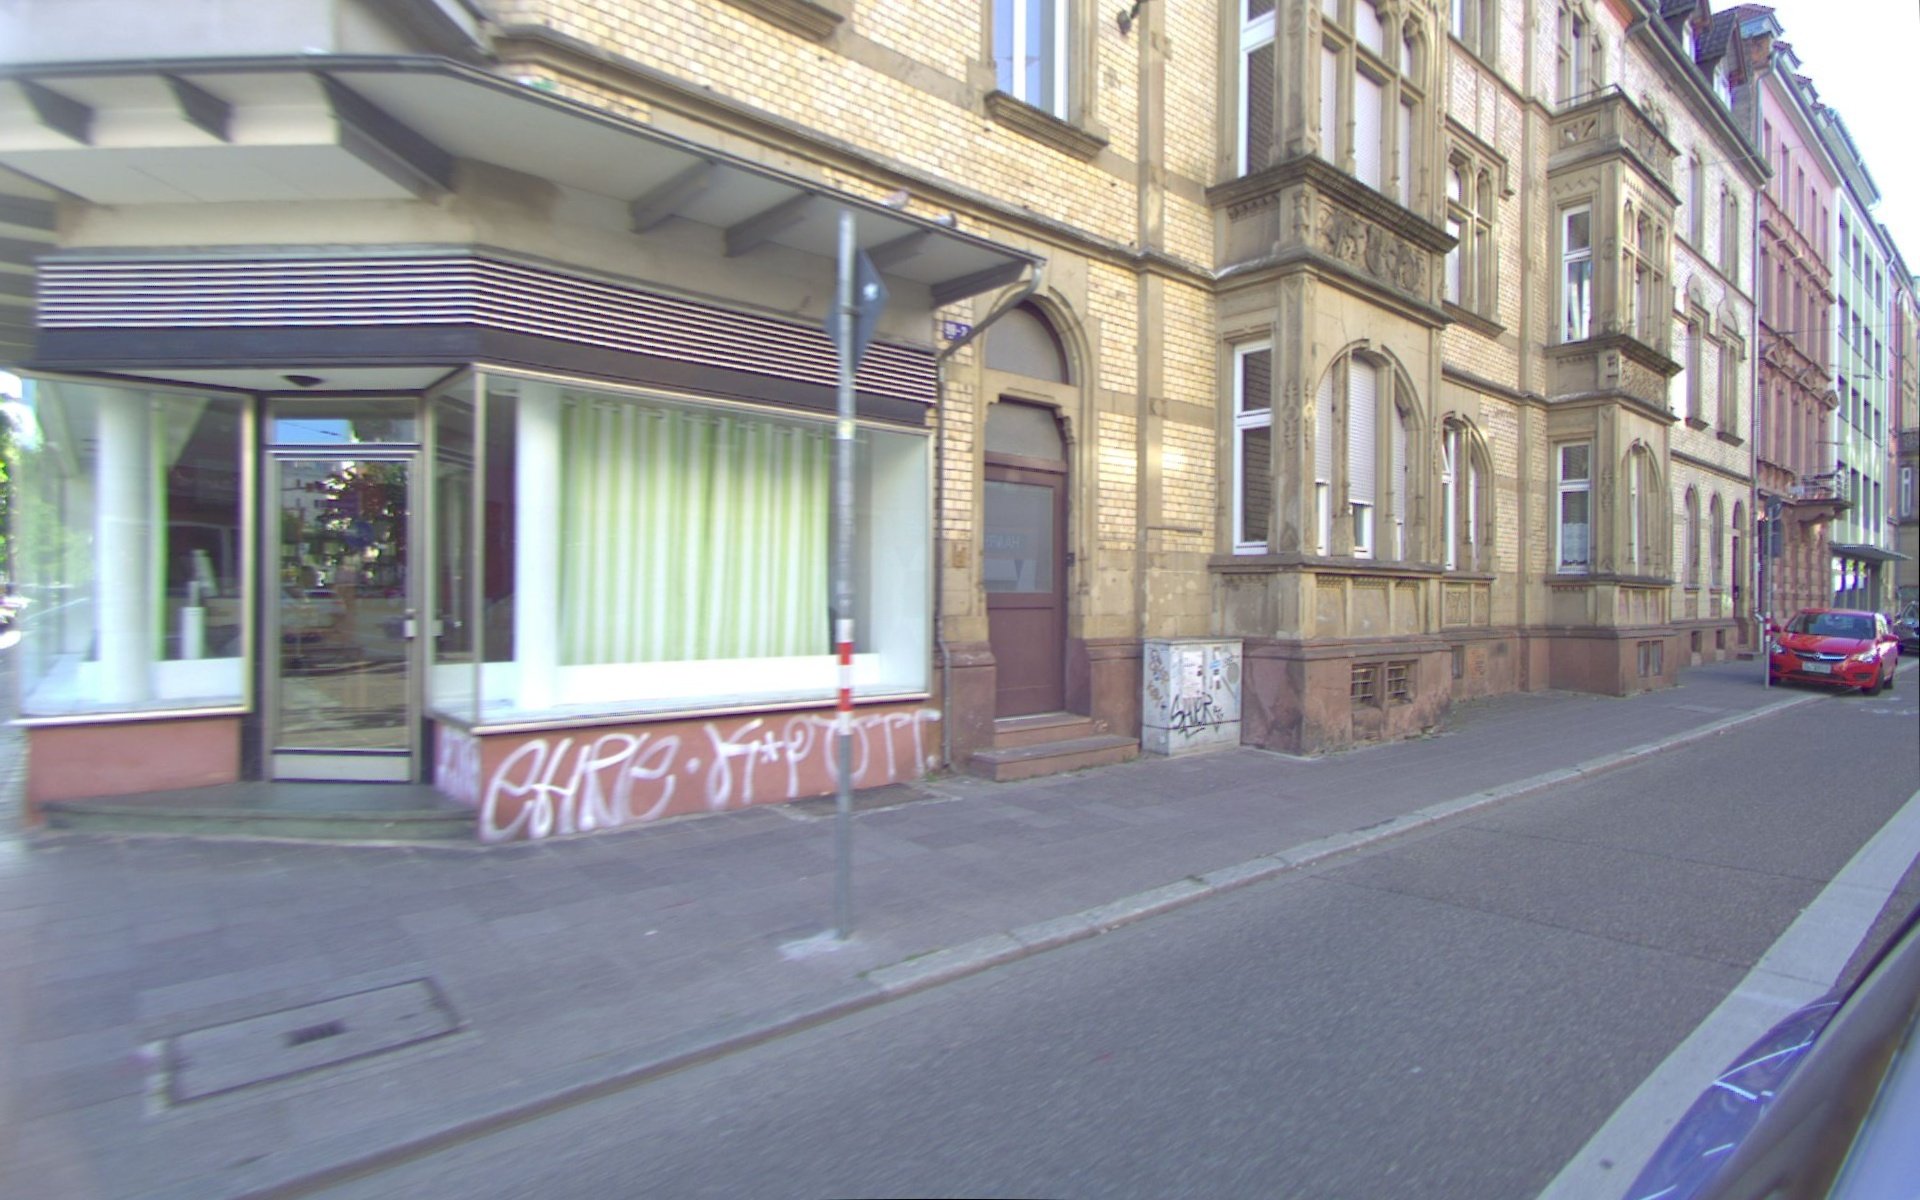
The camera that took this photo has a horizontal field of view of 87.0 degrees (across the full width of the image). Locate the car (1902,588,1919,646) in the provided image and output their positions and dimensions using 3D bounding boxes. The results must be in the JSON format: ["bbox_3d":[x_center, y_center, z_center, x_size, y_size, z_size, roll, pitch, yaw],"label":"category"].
[{"bbox_3d":[30.067,0.526,30.785,1.867,1.666,4.330,5,4,45],"label":"car"}]

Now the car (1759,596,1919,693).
[{"bbox_3d":[16.772,0.732,19.080,4.325,1.500,1.870,-1,4,-41],"label":"car"}]
